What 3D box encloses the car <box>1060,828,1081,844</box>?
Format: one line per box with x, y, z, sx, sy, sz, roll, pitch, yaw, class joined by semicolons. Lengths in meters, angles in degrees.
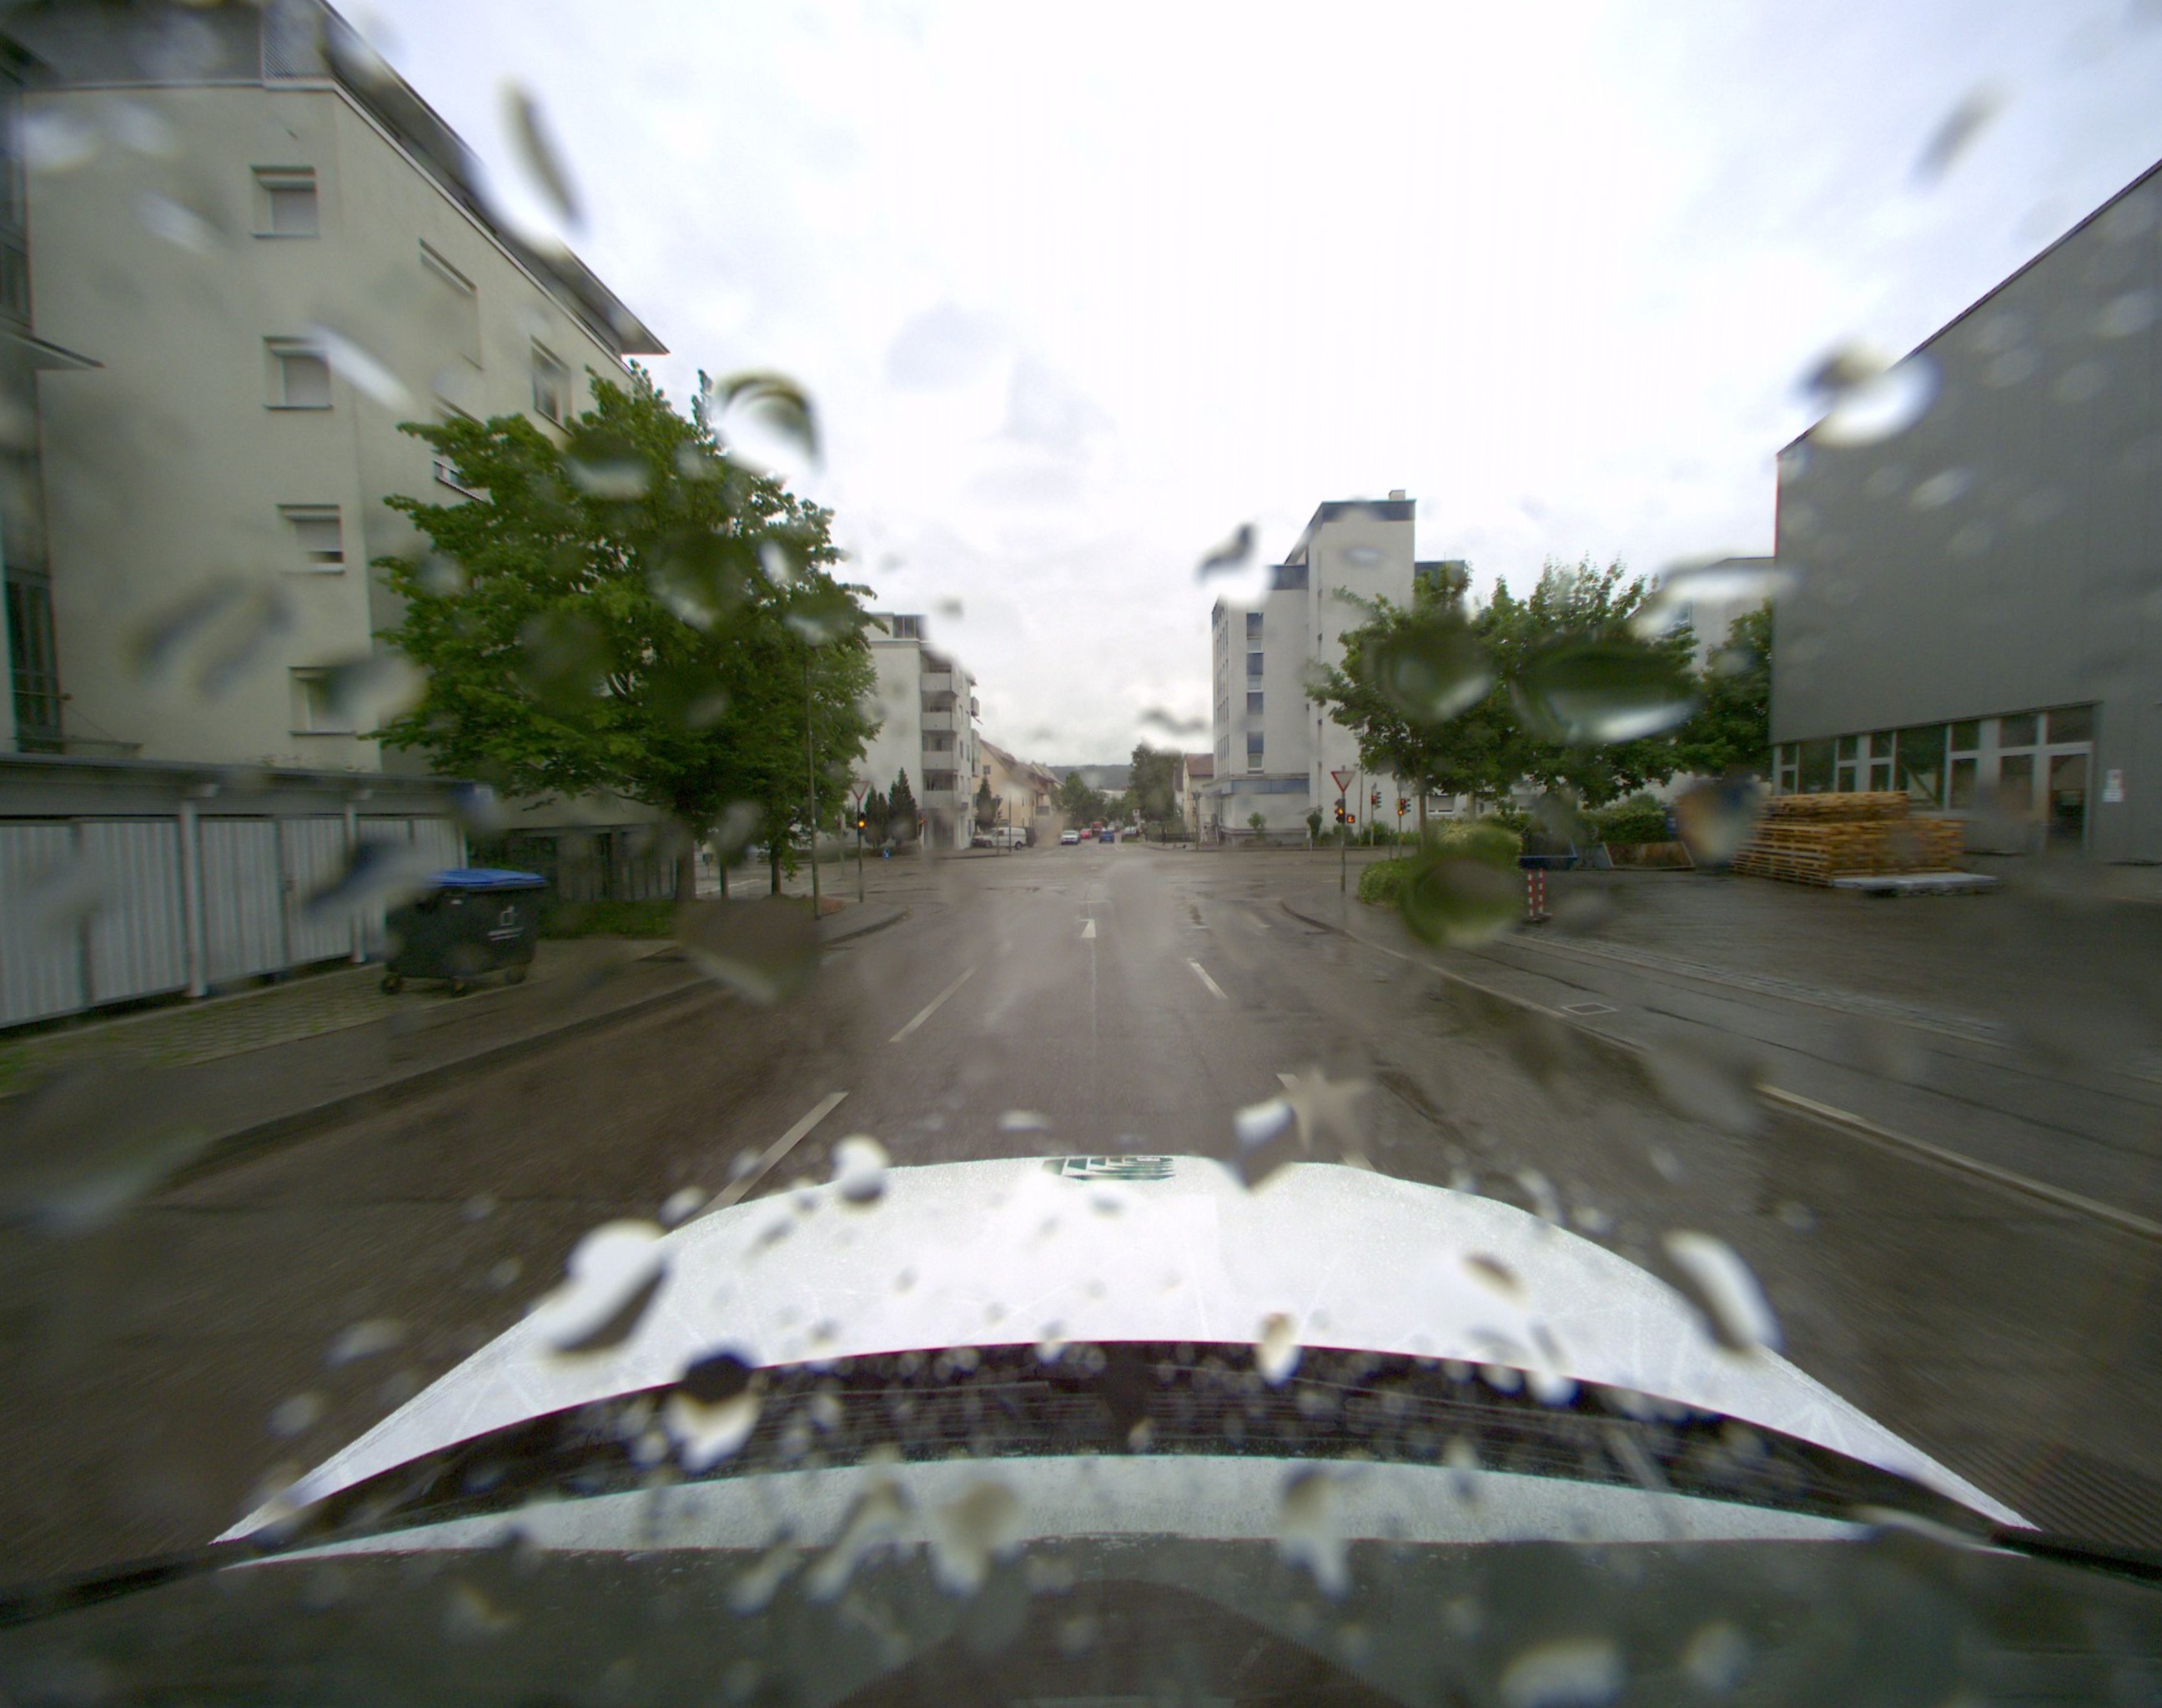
-1.158;-1.998;89.286;1.985;1.625;4.195;-2;2;3;car

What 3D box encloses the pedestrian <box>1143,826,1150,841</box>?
8.157;-2.523;101.231;0.741;1.848;0.527;2;1;11;pedestrian

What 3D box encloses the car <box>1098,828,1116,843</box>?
3.123;-2.282;97.427;1.987;1.683;4.000;-2;2;0;car

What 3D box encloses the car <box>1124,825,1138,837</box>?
7.652;-3.460;124.866;1.894;1.745;4.195;-2;2;3;car

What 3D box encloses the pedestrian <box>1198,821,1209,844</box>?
9.153;-1.598;60.797;0.646;1.647;0.525;2;1;-4;pedestrian

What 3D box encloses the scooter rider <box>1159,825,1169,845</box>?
7.582;-1.770;74.324;0.749;1.795;0.673;-2;1;3;scooter rider

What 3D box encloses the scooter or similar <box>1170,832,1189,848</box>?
7.231;-1.043;59.725;1.265;1.081;0.876;-2;1;-3;scooter or similar

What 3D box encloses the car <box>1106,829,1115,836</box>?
6.329;-4.687;175.862;1.894;1.558;4.195;-2;2;3;car

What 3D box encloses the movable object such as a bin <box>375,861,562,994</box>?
-6.780;0.773;9.112;1.068;1.347;1.319;1;0;0;movable object such as a bin

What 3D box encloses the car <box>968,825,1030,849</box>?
-6.907;-1.430;69.156;4.866;1.835;1.978;-3;2;-36;car

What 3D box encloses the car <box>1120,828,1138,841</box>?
5.988;-2.478;102.639;2.137;1.589;4.131;-2;2;3;car

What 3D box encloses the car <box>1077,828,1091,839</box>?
0.484;-3.191;125.727;1.894;1.558;4.195;-2;2;3;car

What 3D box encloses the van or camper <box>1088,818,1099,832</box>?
2.271;-5.257;148.273;1.894;2.513;4.242;-2;2;3;van or camper

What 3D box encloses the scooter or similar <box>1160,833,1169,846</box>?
7.611;-1.331;74.407;0.753;1.171;1.316;-2;1;4;scooter or similar
